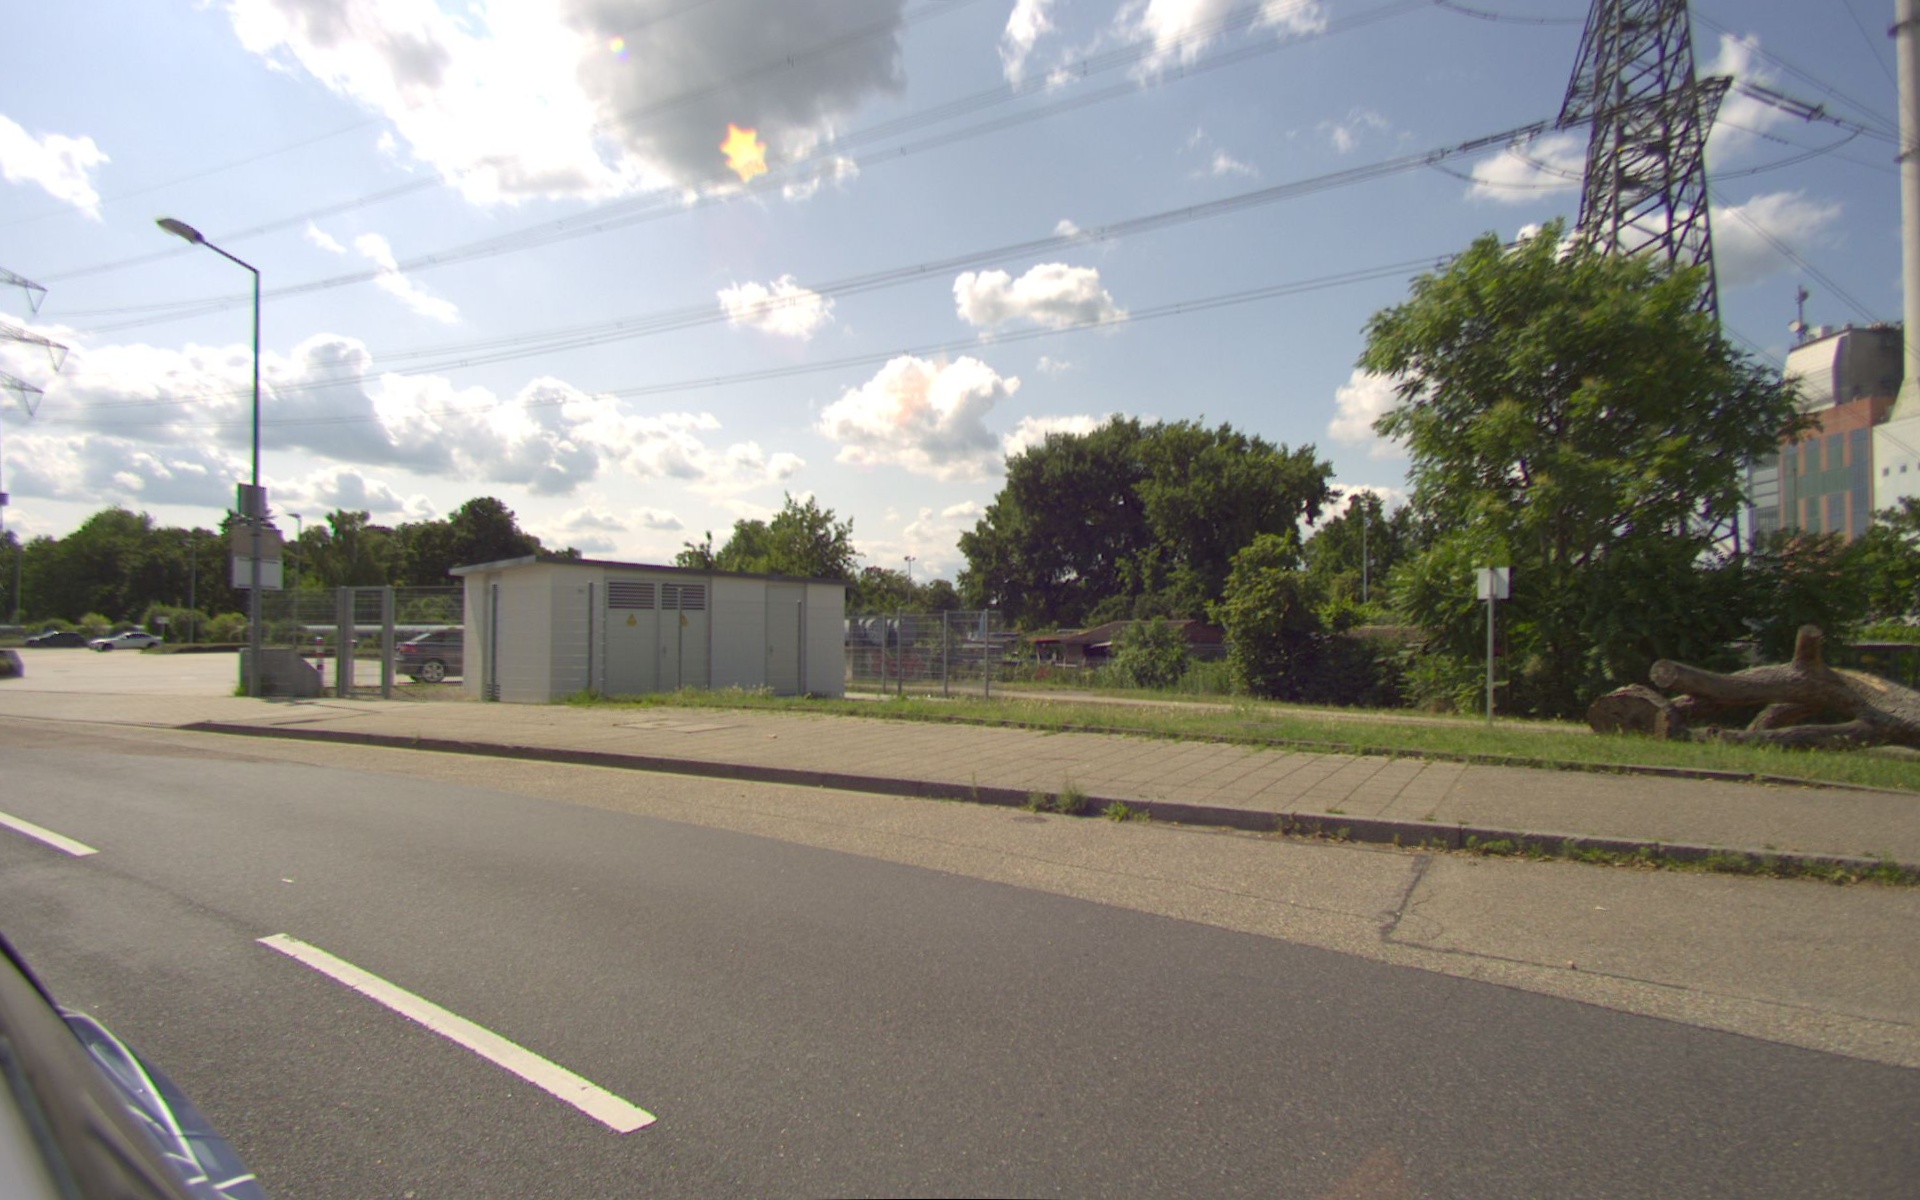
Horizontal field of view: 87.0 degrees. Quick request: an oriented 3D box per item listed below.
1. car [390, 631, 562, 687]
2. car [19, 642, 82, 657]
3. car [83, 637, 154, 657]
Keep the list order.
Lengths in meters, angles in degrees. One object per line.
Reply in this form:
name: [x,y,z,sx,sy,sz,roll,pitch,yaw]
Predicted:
car: [-13.080,1.545,27.416,3.934,1.388,1.807,1,-2,-37]
car: [-77.773,4.221,86.593,1.795,1.261,3.576,-1,-2,27]
car: [-63.731,3.543,76.709,1.798,1.485,3.784,-1,-2,32]
